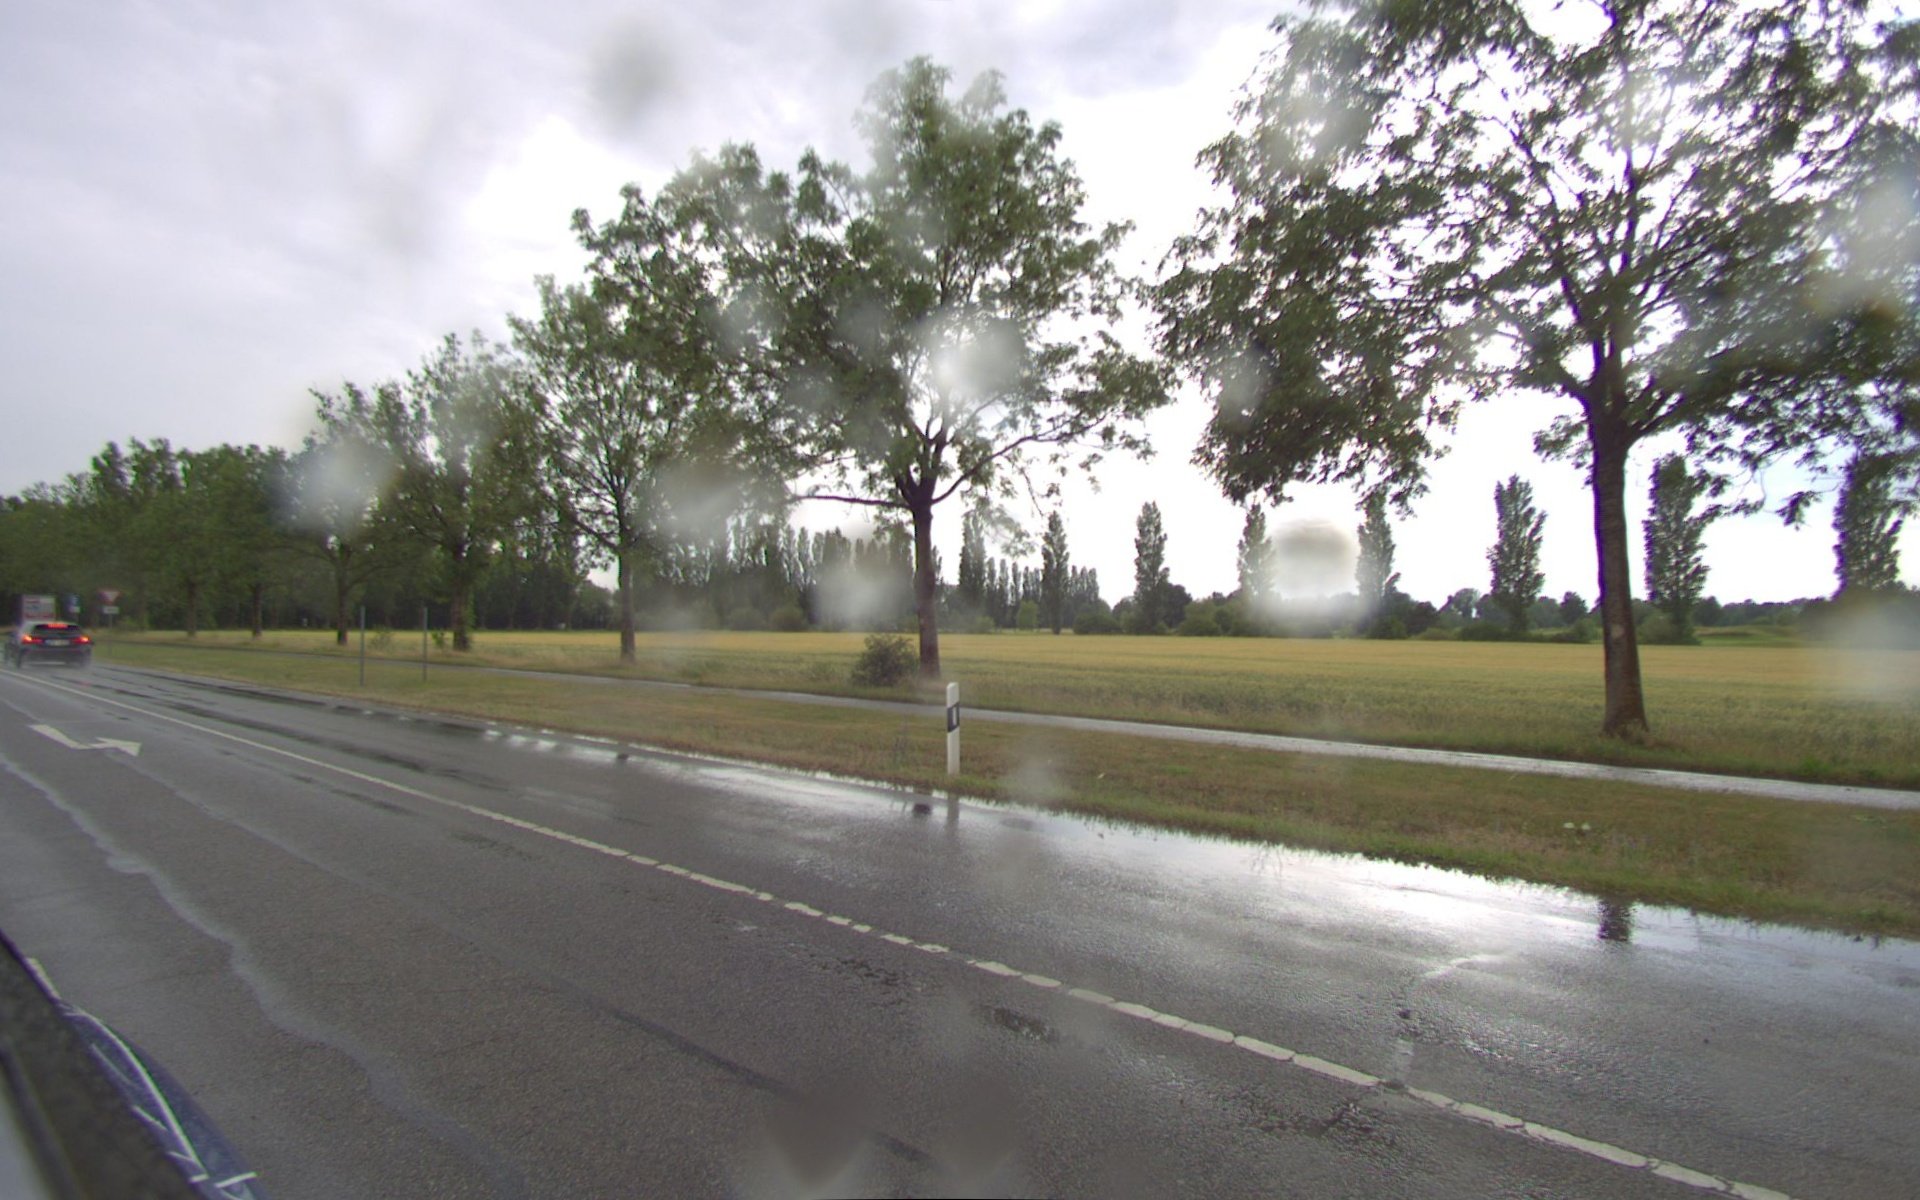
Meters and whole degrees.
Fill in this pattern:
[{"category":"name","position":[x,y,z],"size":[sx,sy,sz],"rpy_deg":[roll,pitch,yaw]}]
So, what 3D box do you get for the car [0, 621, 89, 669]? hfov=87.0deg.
[{"category":"car","position":[-29.240,1.409,32.173],"size":[4.041,1.415,1.702],"rpy_deg":[-1,-4,41]}]
